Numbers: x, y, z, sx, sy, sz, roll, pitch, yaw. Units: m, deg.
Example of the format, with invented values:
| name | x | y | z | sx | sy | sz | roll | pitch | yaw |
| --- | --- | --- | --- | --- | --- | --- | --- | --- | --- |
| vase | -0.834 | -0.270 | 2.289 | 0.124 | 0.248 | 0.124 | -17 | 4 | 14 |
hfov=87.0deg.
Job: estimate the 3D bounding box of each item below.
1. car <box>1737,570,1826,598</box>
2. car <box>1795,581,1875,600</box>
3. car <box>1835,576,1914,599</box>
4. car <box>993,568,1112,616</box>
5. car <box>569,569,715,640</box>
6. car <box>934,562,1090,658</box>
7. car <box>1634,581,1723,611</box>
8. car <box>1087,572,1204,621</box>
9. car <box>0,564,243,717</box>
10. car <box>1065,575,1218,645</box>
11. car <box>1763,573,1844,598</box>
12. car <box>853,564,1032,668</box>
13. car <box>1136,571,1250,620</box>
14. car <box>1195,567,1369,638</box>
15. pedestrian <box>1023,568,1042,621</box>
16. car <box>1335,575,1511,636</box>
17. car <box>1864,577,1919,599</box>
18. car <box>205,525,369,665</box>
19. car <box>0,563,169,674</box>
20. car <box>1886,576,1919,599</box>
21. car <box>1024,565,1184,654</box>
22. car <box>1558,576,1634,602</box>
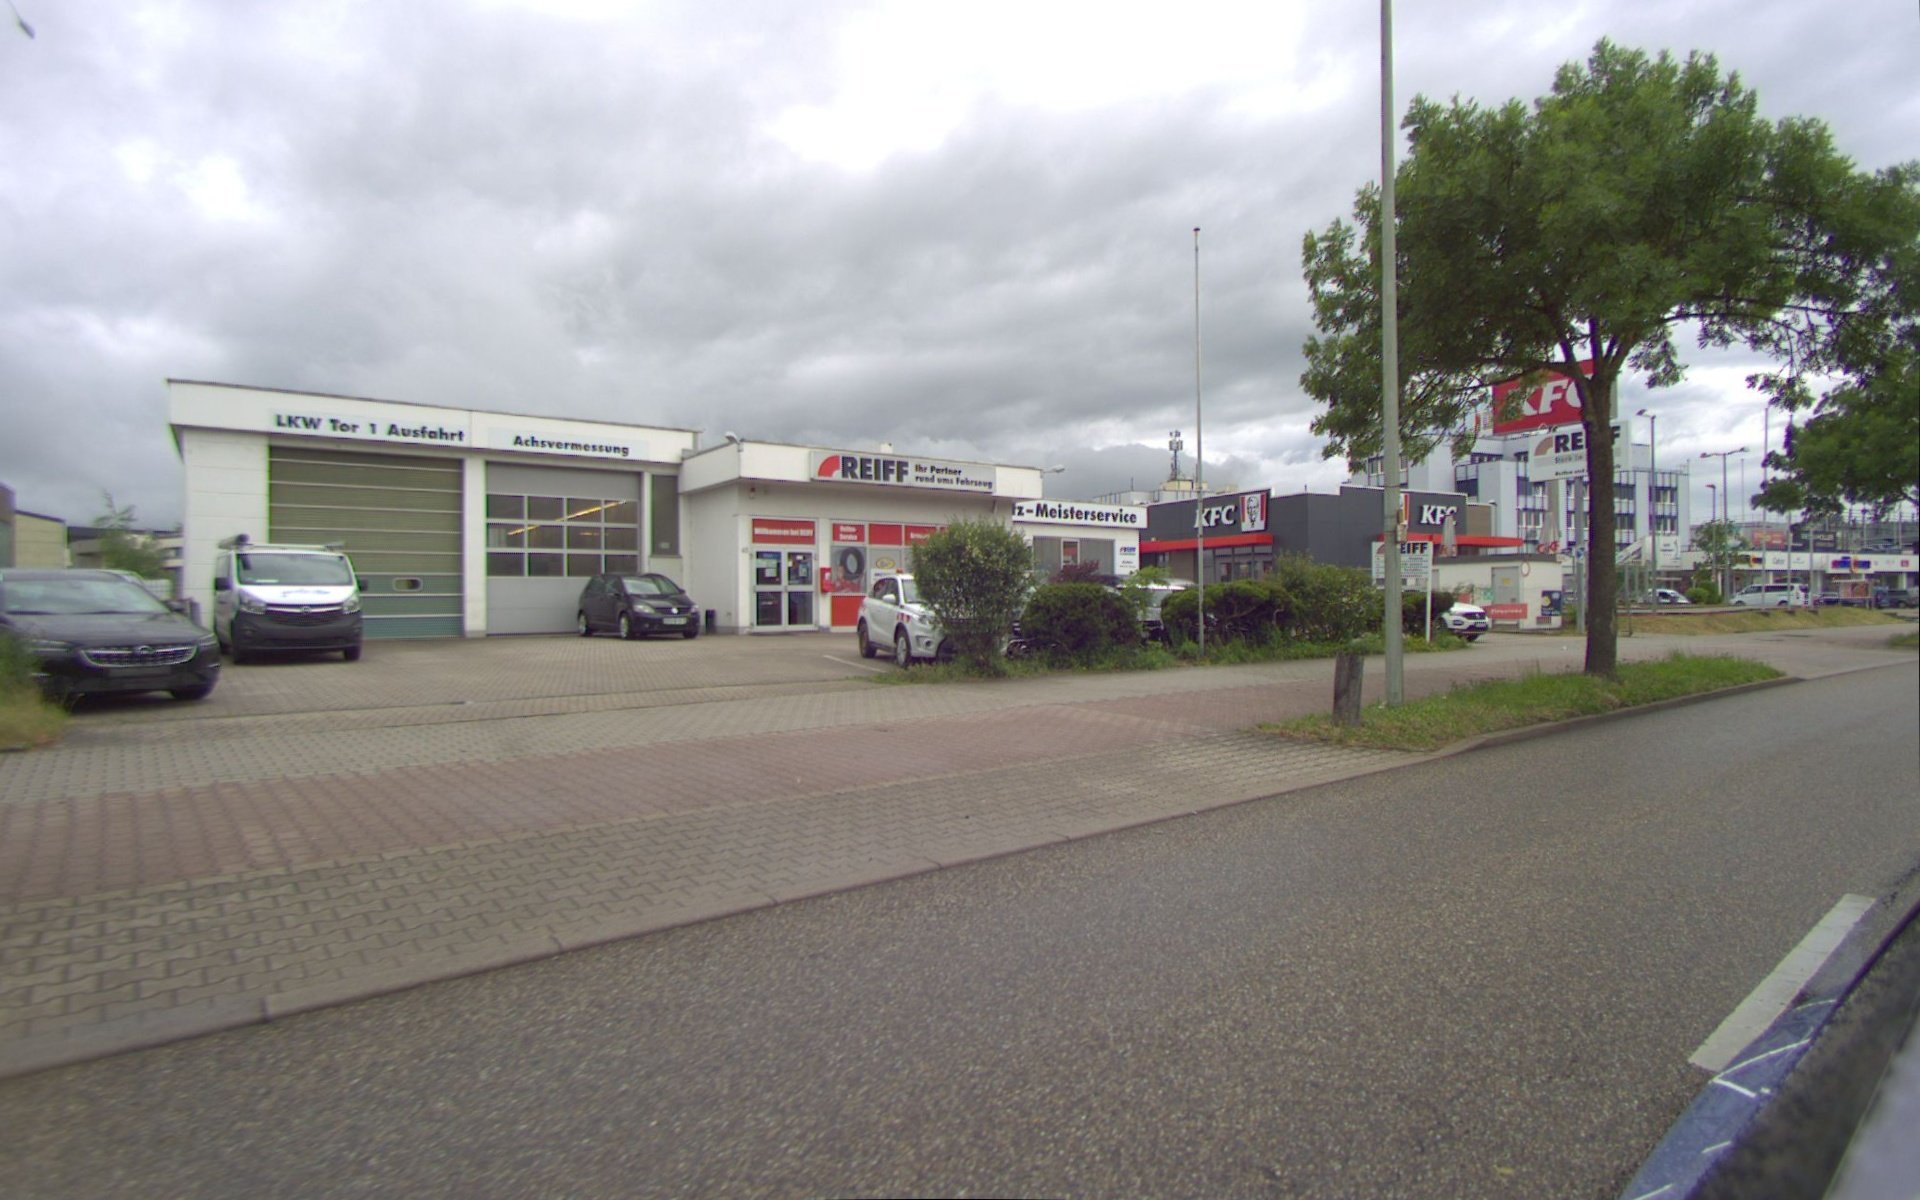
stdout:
| name | x | y | z | sx | sy | sz | roll | pitch | yaw |
| --- | --- | --- | --- | --- | --- | --- | --- | --- | --- |
| car | 61.560 | -1.166 | 75.907 | 1.958 | 2.039 | 4.796 | 0 | 1 | -23 |
| car | 68.528 | -0.762 | 79.318 | 1.786 | 1.411 | 4.383 | 0 | 1 | -25 |
| car | 73.474 | -0.998 | 81.386 | 1.858 | 1.786 | 4.383 | 0 | 1 | -25 |
| car | 2.991 | -0.274 | 33.410 | 1.755 | 1.497 | 3.856 | -1 | 1 | -38 |
| car | -7.602 | 0.081 | 23.973 | 1.949 | 1.522 | 4.063 | 0 | 0 | -39 |
| car | 0.900 | 0.152 | 20.172 | 1.783 | 1.683 | 4.165 | 2 | 0 | -16 |
| car | 45.873 | -0.293 | 64.707 | 1.762 | 1.806 | 4.255 | 2 | 0 | -28 |
| car | 6.729 | -0.173 | 37.006 | 1.920 | 1.700 | 4.000 | 0 | 1 | -35 |
| car | -10.104 | 0.352 | 11.387 | 3.652 | 1.482 | 1.779 | 1 | 1 | 25 |
| car | 4.308 | 0.169 | 24.602 | 1.697 | 1.542 | 3.948 | 0 | 1 | -25 |
| car | 64.428 | -1.100 | 77.396 | 1.858 | 1.843 | 4.383 | 0 | 1 | -25 |
| car | -0.449 | 0.203 | 17.856 | 1.943 | 1.617 | 4.077 | 0 | 1 | -20 |
| car | 8.674 | -0.185 | 37.984 | 1.918 | 1.701 | 4.003 | 0 | 1 | -31 |
| car | 7.586 | 0.006 | 24.253 | 1.682 | 1.541 | 4.007 | 0 | 1 | -25 |
| pedestrian | 2.501 | -0.202 | 35.089 | 0.505 | 1.807 | 0.439 | 0 | 1 | -23 |
| car | 12.873 | 0.121 | 28.412 | 1.852 | 1.571 | 4.191 | 0 | 1 | -31 |
| car | 77.848 | -0.959 | 83.611 | 1.858 | 1.786 | 4.383 | 0 | 1 | -25 |
| car | -12.204 | -0.116 | 18.209 | 1.930 | 2.176 | 4.662 | 0 | 1 | -40 |
| car | -13.900 | 0.225 | 16.179 | 1.964 | 1.517 | 4.665 | 0 | 1 | -38 |
| car | 80.322 | -1.041 | 84.260 | 1.858 | 1.930 | 4.383 | 0 | 1 | -25 |
| car | 2.952 | 0.164 | 21.712 | 1.783 | 1.683 | 4.165 | 2 | 0 | -16 |
| car | 43.226 | -0.761 | 68.875 | 1.787 | 1.730 | 4.006 | 0 | 1 | -28 |
